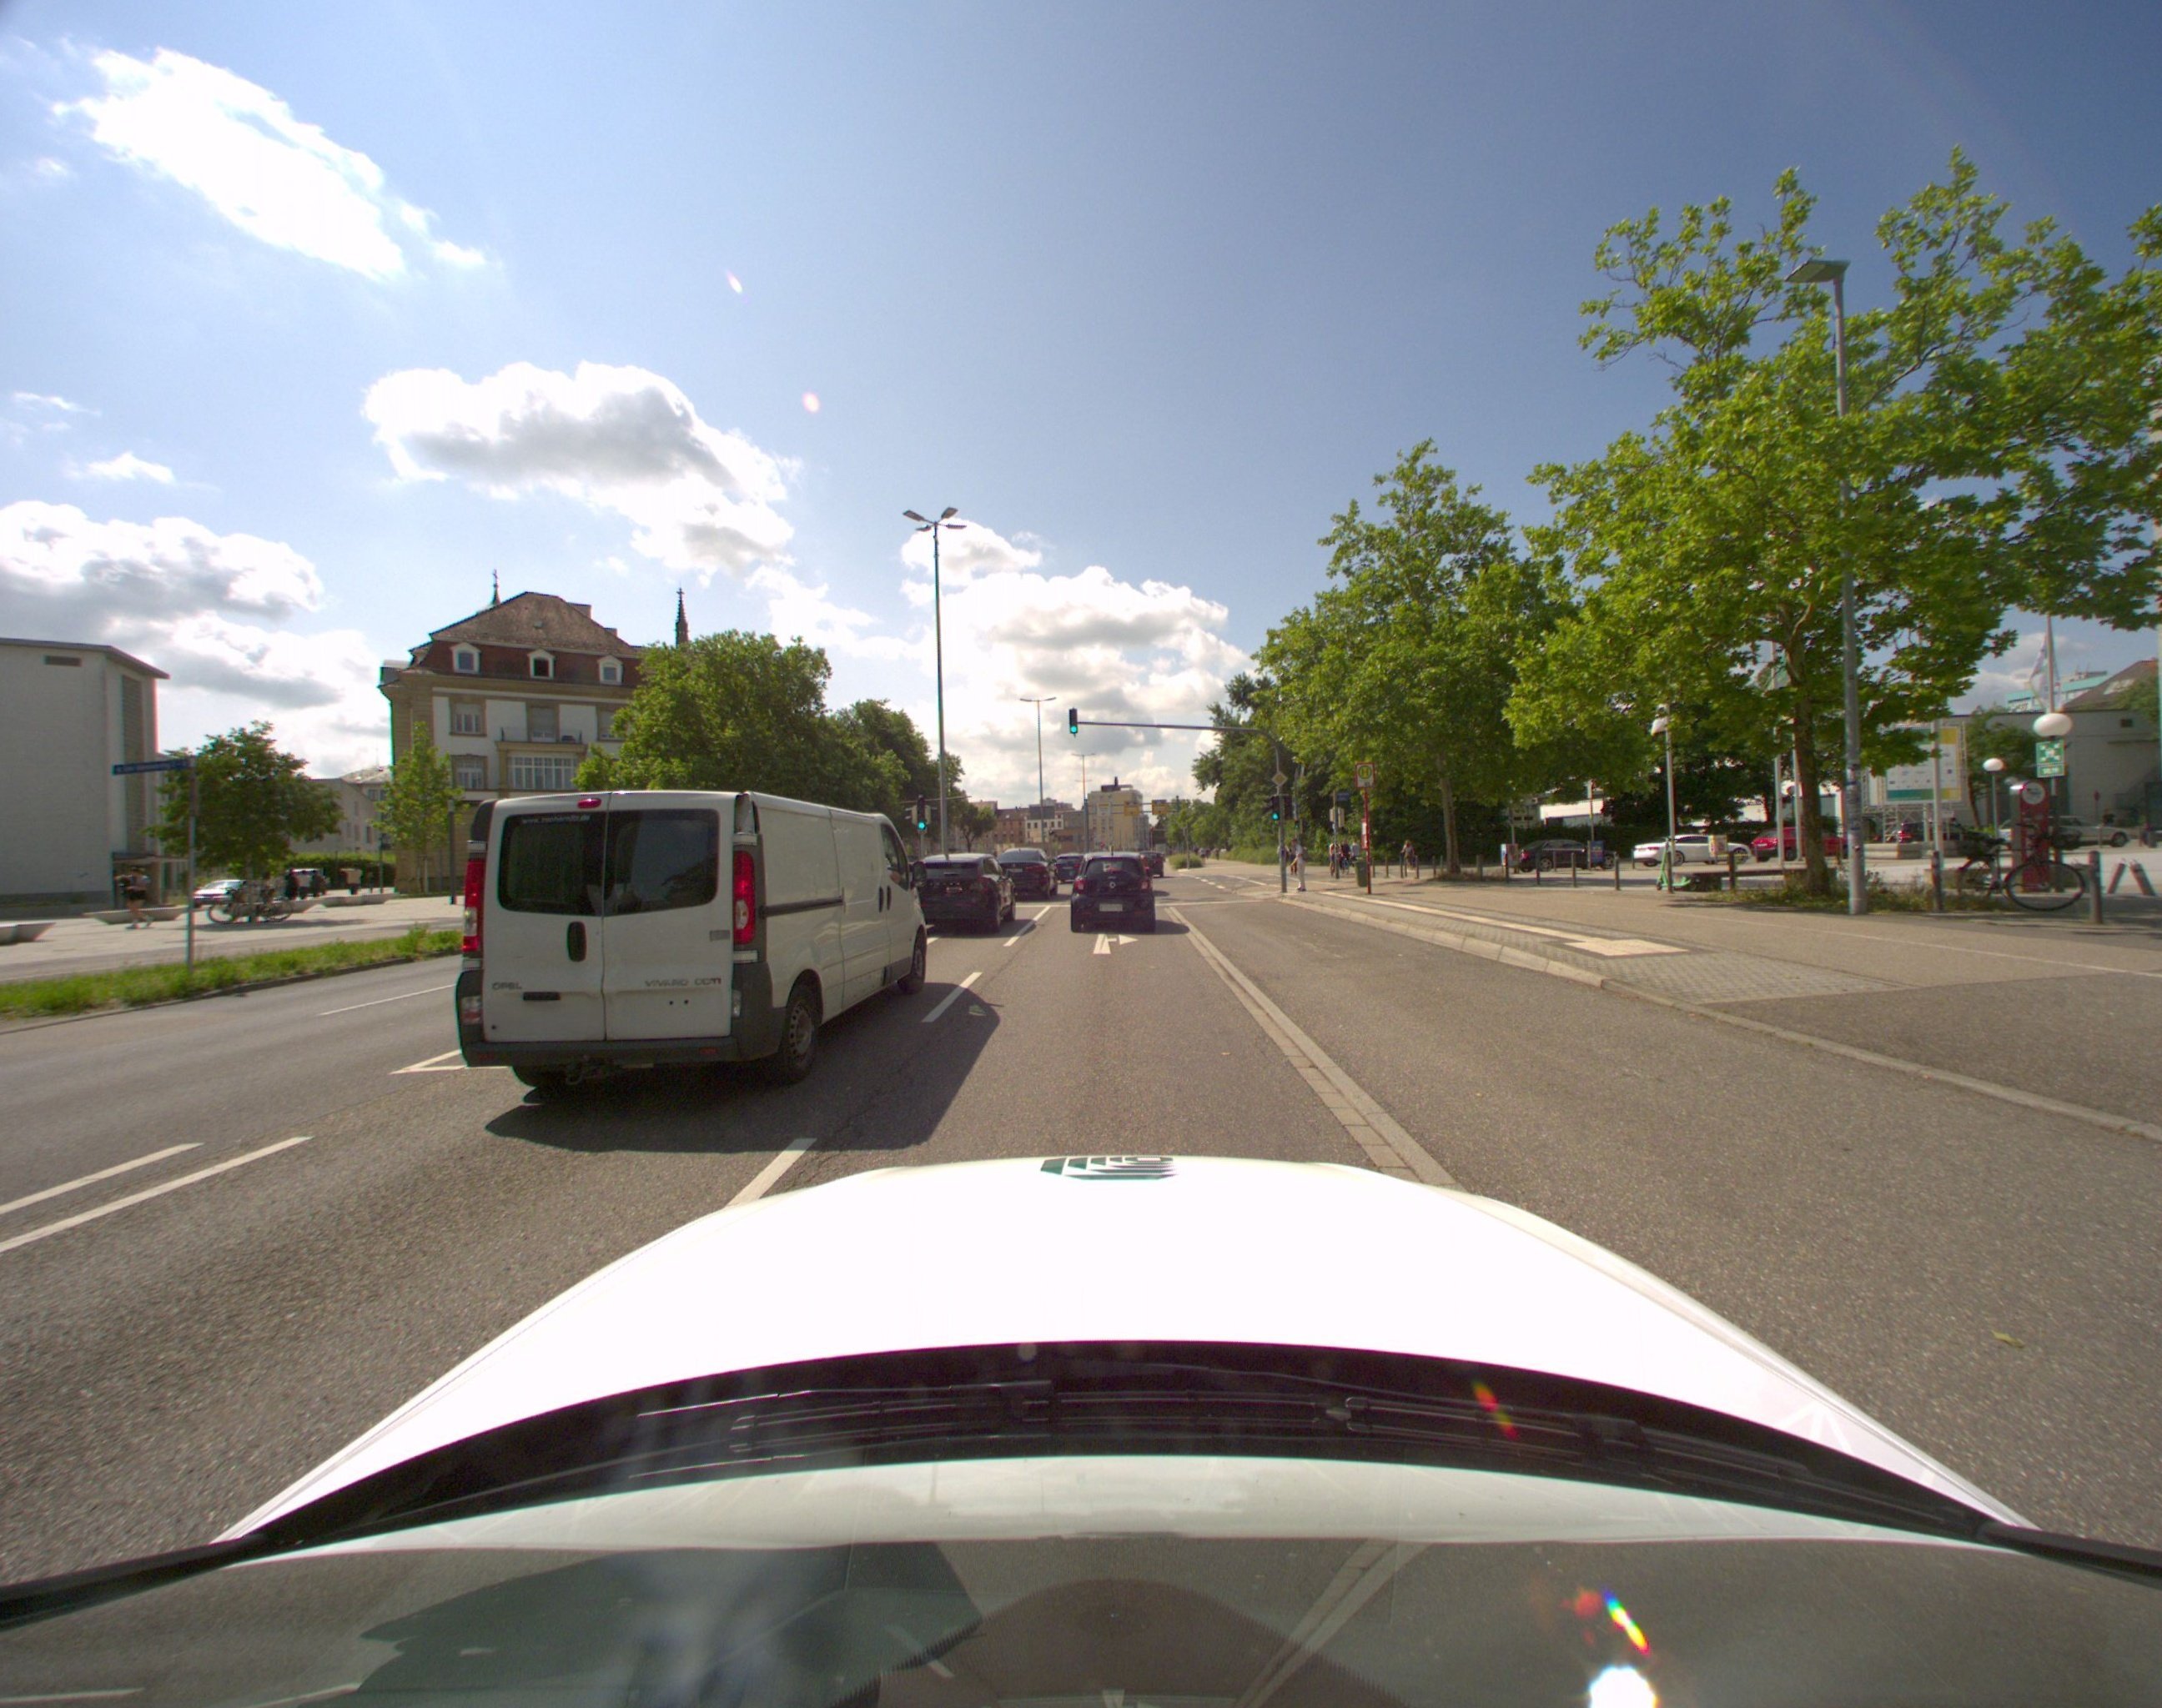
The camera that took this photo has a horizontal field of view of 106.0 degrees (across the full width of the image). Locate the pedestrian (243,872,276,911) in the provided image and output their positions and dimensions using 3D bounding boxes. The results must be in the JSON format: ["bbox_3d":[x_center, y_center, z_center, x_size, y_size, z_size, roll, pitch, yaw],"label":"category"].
[{"bbox_3d":[-38.426,1.756,38.100,0.833,1.790,0.819,-2,0,28],"label":"pedestrian"}]

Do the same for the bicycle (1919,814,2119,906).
[{"bbox_3d":[13.260,0.085,11.631,0.792,1.183,2.038,-1,-1,12],"label":"bicycle"}]

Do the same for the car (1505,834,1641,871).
[{"bbox_3d":[21.704,-0.036,36.039,4.915,1.400,1.724,-2,-2,1],"label":"car"}]

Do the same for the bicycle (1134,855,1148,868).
[{"bbox_3d":[9.297,1.131,127.140,1.986,2.014,4.002,0,-1,2],"label":"bicycle"}]

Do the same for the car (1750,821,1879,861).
[{"bbox_3d":[32.200,-0.549,35.831,4.118,1.497,1.620,-3,-3,1],"label":"car"}]

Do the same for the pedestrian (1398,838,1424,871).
[{"bbox_3d":[17.321,0.021,42.764,0.852,1.626,1.020,-3,1,0],"label":"pedestrian"}]

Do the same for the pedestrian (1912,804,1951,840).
[{"bbox_3d":[48.102,-1.807,46.059,1.013,1.920,1.099,-2,0,2],"label":"pedestrian"}]

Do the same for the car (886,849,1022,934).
[{"bbox_3d":[-2.507,0.687,17.388,2.010,1.530,4.888,-1,0,1],"label":"car"}]

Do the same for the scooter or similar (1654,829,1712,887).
[{"bbox_3d":[12.659,0.090,17.156,0.351,1.165,1.193,0,-1,2],"label":"scooter or similar"}]

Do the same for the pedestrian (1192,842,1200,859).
[{"bbox_3d":[13.169,-0.375,93.369,0.835,1.969,0.861,-2,0,2],"label":"pedestrian"}]

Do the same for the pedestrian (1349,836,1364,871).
[{"bbox_3d":[14.569,-0.007,43.091,0.666,1.821,0.706,-1,0,12],"label":"pedestrian"}]

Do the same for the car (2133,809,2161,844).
[{"bbox_3d":[49.548,-1.290,36.030,3.981,1.496,1.619,-2,0,-1],"label":"car"}]

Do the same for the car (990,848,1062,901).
[{"bbox_3d":[-1.760,0.611,27.438,1.819,1.601,4.398,-1,1,4],"label":"car"}]

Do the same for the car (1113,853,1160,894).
[{"bbox_3d":[2.028,0.664,29.643,1.604,1.411,3.521,0,0,4],"label":"car"}]

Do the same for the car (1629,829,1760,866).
[{"bbox_3d":[27.015,-0.263,35.948,4.408,1.400,1.724,-2,-3,1],"label":"car"}]

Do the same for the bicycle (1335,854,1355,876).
[{"bbox_3d":[13.448,0.551,41.536,0.809,1.072,1.898,-1,1,14],"label":"bicycle"}]

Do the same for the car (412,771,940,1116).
[{"bbox_3d":[-2.796,0.521,7.307,1.999,1.955,5.195,-1,0,1],"label":"car"}]

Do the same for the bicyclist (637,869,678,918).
[{"bbox_3d":[-14.545,1.351,27.959,0.991,1.615,0.658,-2,0,6],"label":"bicyclist"}]

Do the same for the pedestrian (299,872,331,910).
[{"bbox_3d":[-37.513,1.793,39.887,0.833,1.790,0.871,-2,0,30],"label":"pedestrian"}]

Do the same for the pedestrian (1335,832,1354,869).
[{"bbox_3d":[13.425,-0.183,41.554,0.848,1.819,1.180,1,1,14],"label":"pedestrian"}]

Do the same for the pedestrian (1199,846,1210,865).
[{"bbox_3d":[11.370,0.132,75.173,0.847,1.701,0.932,-3,-1,4],"label":"pedestrian"}]

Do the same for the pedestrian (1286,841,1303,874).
[{"bbox_3d":[11.280,0.163,43.033,0.790,1.704,1.186,-1,0,12],"label":"pedestrian"}]

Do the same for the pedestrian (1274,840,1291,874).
[{"bbox_3d":[10.338,0.160,41.868,0.790,1.704,1.186,-1,0,12],"label":"pedestrian"}]

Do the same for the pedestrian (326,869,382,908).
[{"bbox_3d":[-32.202,1.510,36.090,1.312,1.651,1.304,-2,0,14],"label":"pedestrian"}]

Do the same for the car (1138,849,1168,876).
[{"bbox_3d":[4.031,0.452,45.914,1.604,1.411,3.521,0,0,4],"label":"car"}]

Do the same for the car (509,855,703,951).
[{"bbox_3d":[-10.599,0.991,18.665,1.720,1.811,4.728,-4,0,-2],"label":"car"}]

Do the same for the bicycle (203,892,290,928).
[{"bbox_3d":[-24.924,1.642,24.346,0.522,0.955,1.785,-2,-1,39],"label":"bicycle"}]

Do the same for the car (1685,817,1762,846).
[{"bbox_3d":[47.693,-1.603,60.566,1.985,1.986,4.941,-1,0,3],"label":"car"}]

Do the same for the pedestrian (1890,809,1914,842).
[{"bbox_3d":[49.210,-1.707,48.831,0.725,1.925,0.789,-2,-1,23],"label":"pedestrian"}]

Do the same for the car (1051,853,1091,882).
[{"bbox_3d":[-0.448,0.656,40.232,1.604,1.325,3.521,-2,0,4],"label":"car"}]

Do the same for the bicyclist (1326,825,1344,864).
[{"bbox_3d":[12.264,-0.439,39.309,0.658,1.845,0.762,0,-1,1],"label":"bicyclist"}]

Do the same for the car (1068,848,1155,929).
[{"bbox_3d":[0.702,0.650,17.016,1.604,1.485,3.521,-1,0,4],"label":"car"}]

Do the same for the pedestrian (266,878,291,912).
[{"bbox_3d":[-44.377,2.269,45.057,0.678,1.790,0.837,-2,0,-21],"label":"pedestrian"}]

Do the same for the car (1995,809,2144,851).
[{"bbox_3d":[43.137,-1.025,35.587,4.540,1.529,1.723,-2,-2,-3],"label":"car"}]

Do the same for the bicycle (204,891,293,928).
[{"bbox_3d":[-24.471,1.611,23.972,0.522,0.955,1.785,-2,-1,39],"label":"bicycle"}]

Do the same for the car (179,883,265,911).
[{"bbox_3d":[-46.167,2.289,43.906,2.006,1.306,4.450,0,-1,-30],"label":"car"}]

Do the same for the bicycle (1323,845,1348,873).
[{"bbox_3d":[12.264,0.236,39.238,0.658,1.296,1.875,0,-1,2],"label":"bicycle"}]

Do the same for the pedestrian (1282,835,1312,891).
[{"bbox_3d":[7.148,0.301,26.922,0.598,1.800,0.604,-4,-1,-34],"label":"pedestrian"}]

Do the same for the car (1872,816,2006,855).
[{"bbox_3d":[37.577,-0.783,35.722,3.973,1.529,1.725,-2,-1,1],"label":"car"}]

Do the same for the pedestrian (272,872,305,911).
[{"bbox_3d":[-37.996,1.786,39.049,0.833,1.790,0.898,-2,0,27],"label":"pedestrian"}]

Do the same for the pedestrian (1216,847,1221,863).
[{"bbox_3d":[16.788,0.159,99.156,0.500,1.890,0.560,0,-1,1],"label":"pedestrian"}]

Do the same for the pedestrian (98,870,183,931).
[{"bbox_3d":[-26.654,1.302,23.106,1.174,1.650,1.015,-2,0,1],"label":"pedestrian"}]
